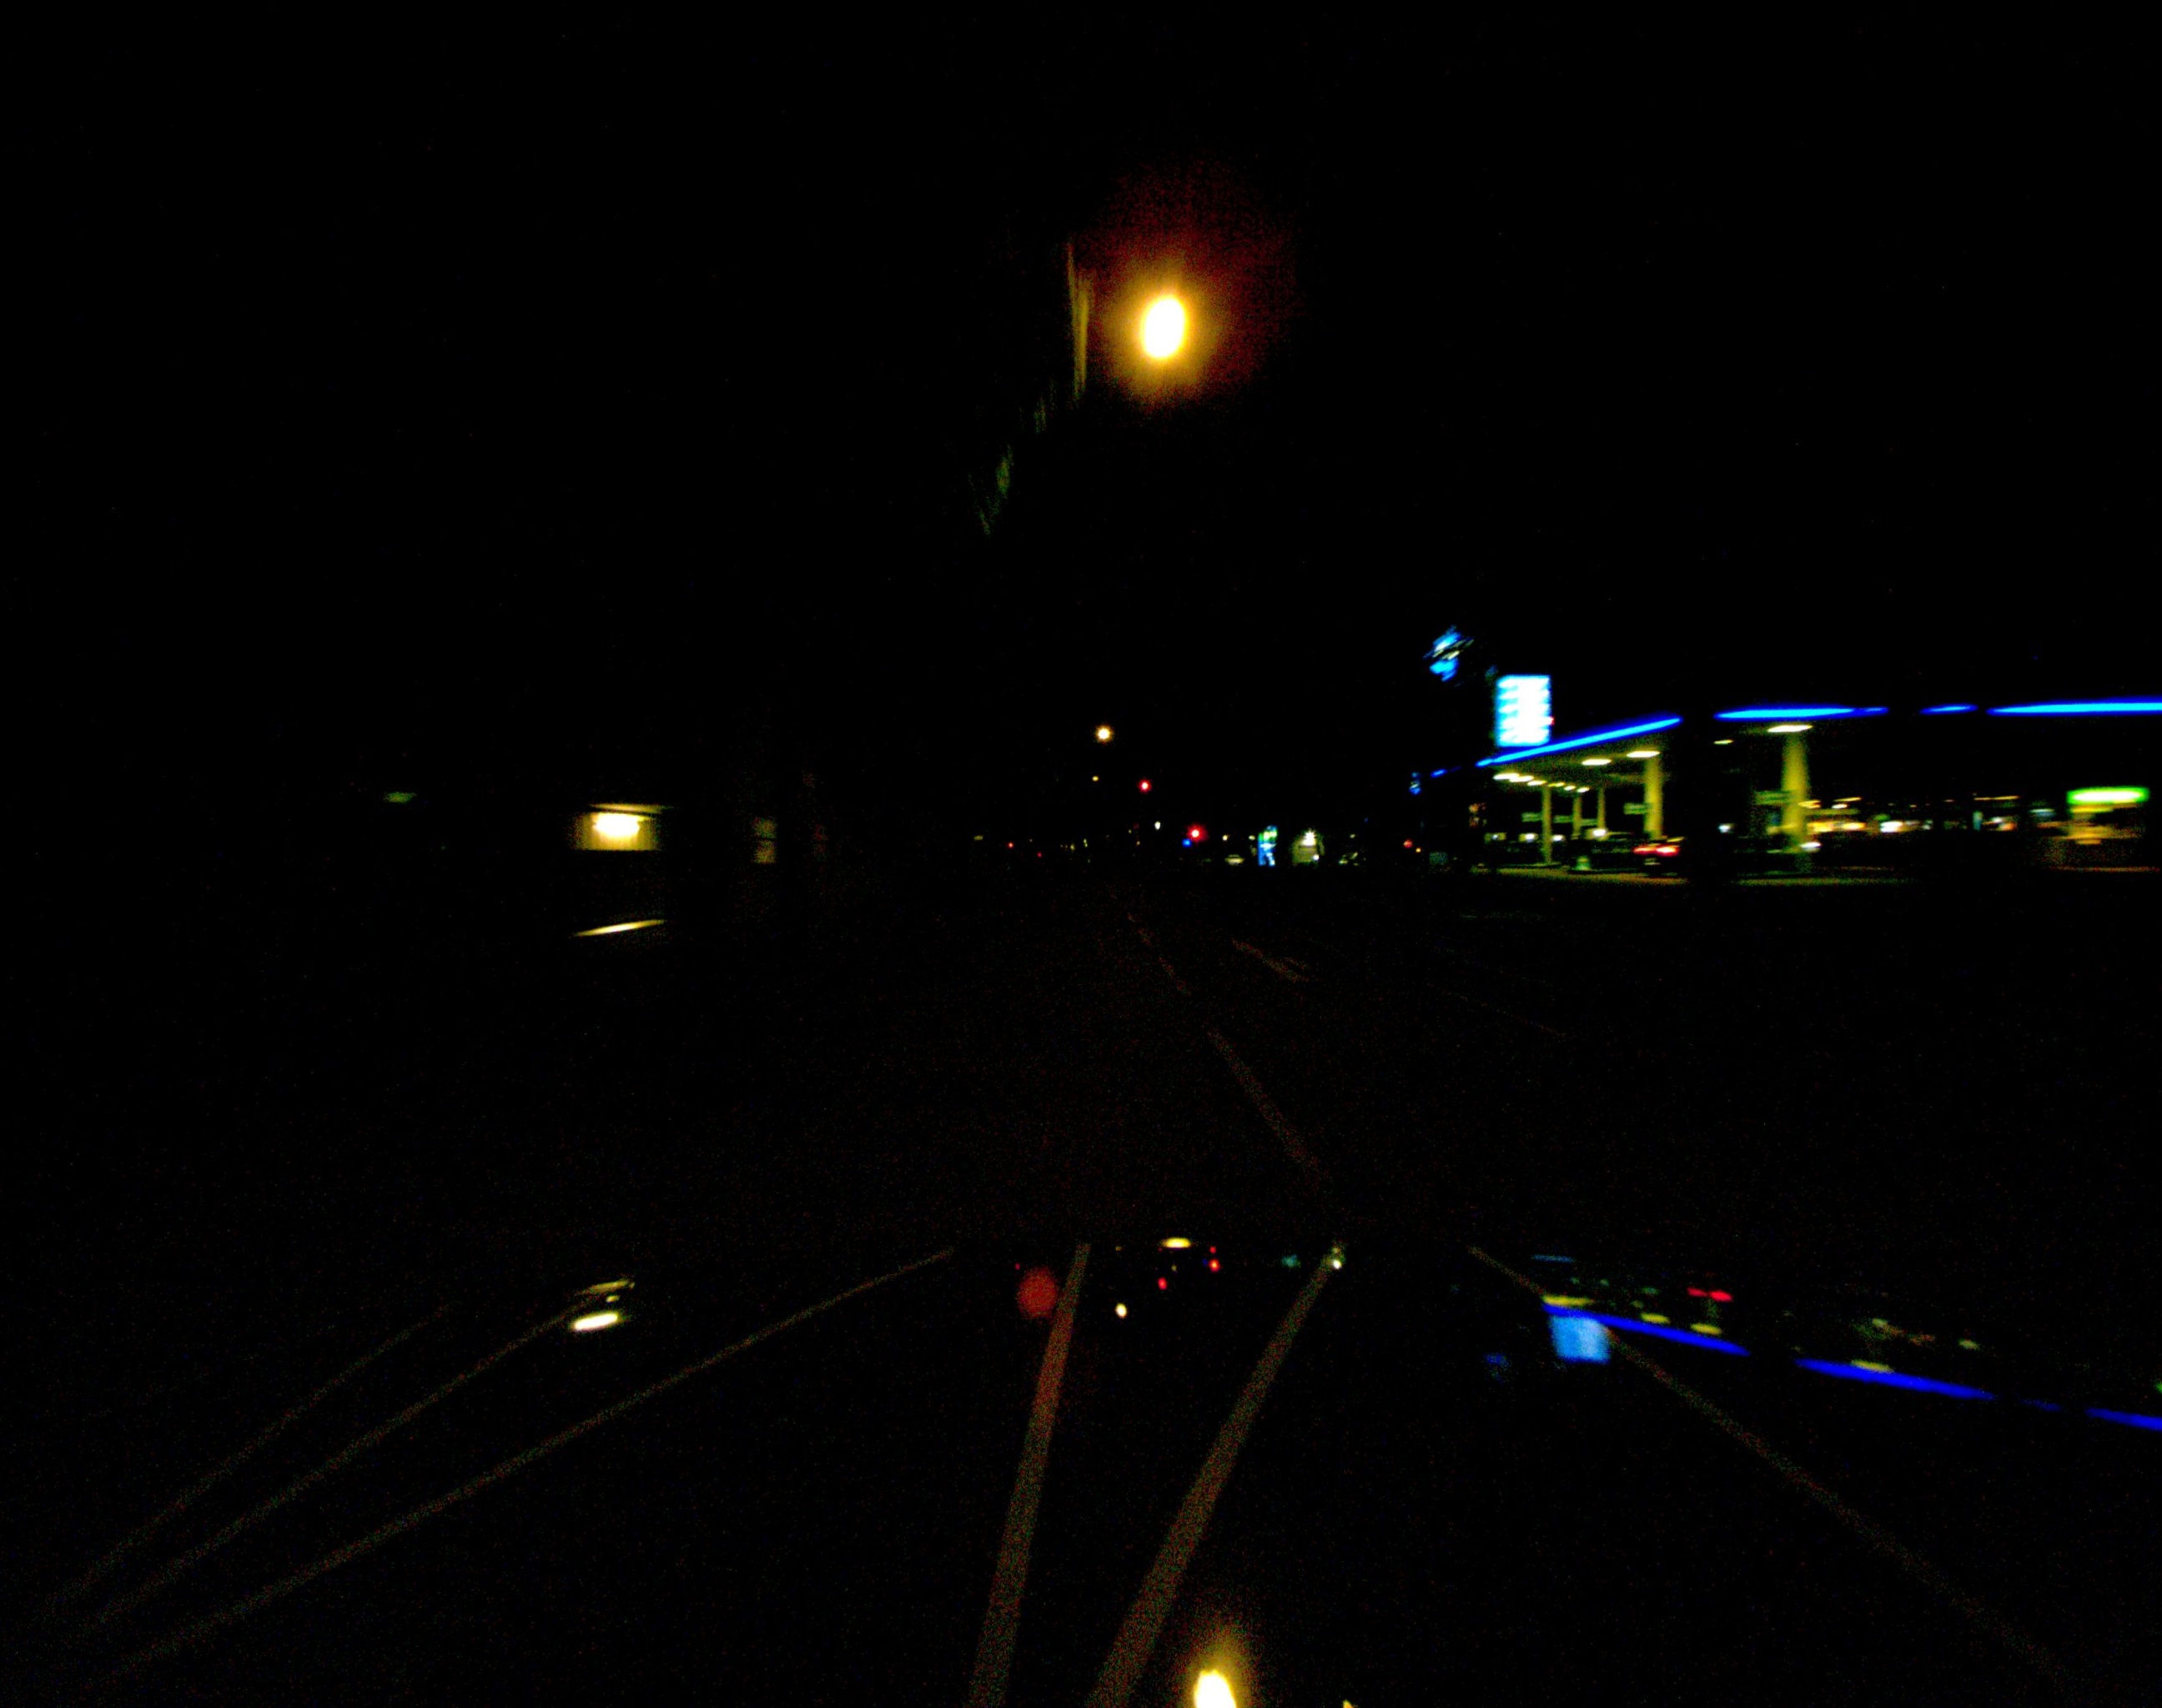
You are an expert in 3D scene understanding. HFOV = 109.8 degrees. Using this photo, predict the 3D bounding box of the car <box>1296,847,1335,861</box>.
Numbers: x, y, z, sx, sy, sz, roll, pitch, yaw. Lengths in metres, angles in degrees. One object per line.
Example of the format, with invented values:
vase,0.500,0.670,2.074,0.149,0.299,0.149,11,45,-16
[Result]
car,26.917,0.017,87.313,4.280,1.469,1.730,-2,1,-27

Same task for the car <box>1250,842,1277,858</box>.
car,18.949,-0.462,79.029,1.864,1.544,4.069,-2,1,0

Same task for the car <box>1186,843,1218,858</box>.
car,14.259,-0.457,89.750,3.575,1.690,1.634,0,1,0

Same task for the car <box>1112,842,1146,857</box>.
car,5.795,-0.508,91.904,3.848,1.781,1.633,-1,1,-3

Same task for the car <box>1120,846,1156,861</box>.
car,6.168,-0.060,82.883,3.763,1.577,1.633,-1,1,-3

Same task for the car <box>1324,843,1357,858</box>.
car,26.704,-0.410,78.190,1.864,1.469,4.353,-2,1,0

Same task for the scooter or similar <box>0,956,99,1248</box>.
scooter or similar,-4.874,1.074,2.589,0.548,1.196,1.911,0,0,1

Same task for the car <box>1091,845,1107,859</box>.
car,2.262,-0.294,96.997,1.936,1.646,3.832,-1,1,0

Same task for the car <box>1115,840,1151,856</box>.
car,6.046,-0.735,89.391,4.055,1.880,1.633,-1,1,-3

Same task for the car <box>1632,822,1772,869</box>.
car,22.898,-0.312,28.109,3.759,1.524,1.670,-3,1,0

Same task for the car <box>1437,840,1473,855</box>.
car,38.366,-0.663,78.071,1.765,1.469,3.957,-2,1,0

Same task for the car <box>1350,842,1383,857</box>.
car,29.301,-0.480,78.095,1.732,1.469,4.085,-2,1,0

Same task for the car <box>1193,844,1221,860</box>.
car,12.944,-0.260,78.378,1.999,1.549,4.386,-2,1,-1

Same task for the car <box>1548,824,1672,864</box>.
car,24.306,-0.454,35.008,4.357,1.717,1.978,-1,1,0

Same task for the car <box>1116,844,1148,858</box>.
car,5.911,-0.345,87.855,3.576,1.619,1.620,-1,1,-3

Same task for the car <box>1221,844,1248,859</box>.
car,15.795,-0.237,78.325,1.864,1.452,4.069,-1,1,0

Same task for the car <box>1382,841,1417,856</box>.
car,32.680,-0.543,78.108,1.864,1.469,4.085,-2,1,0
